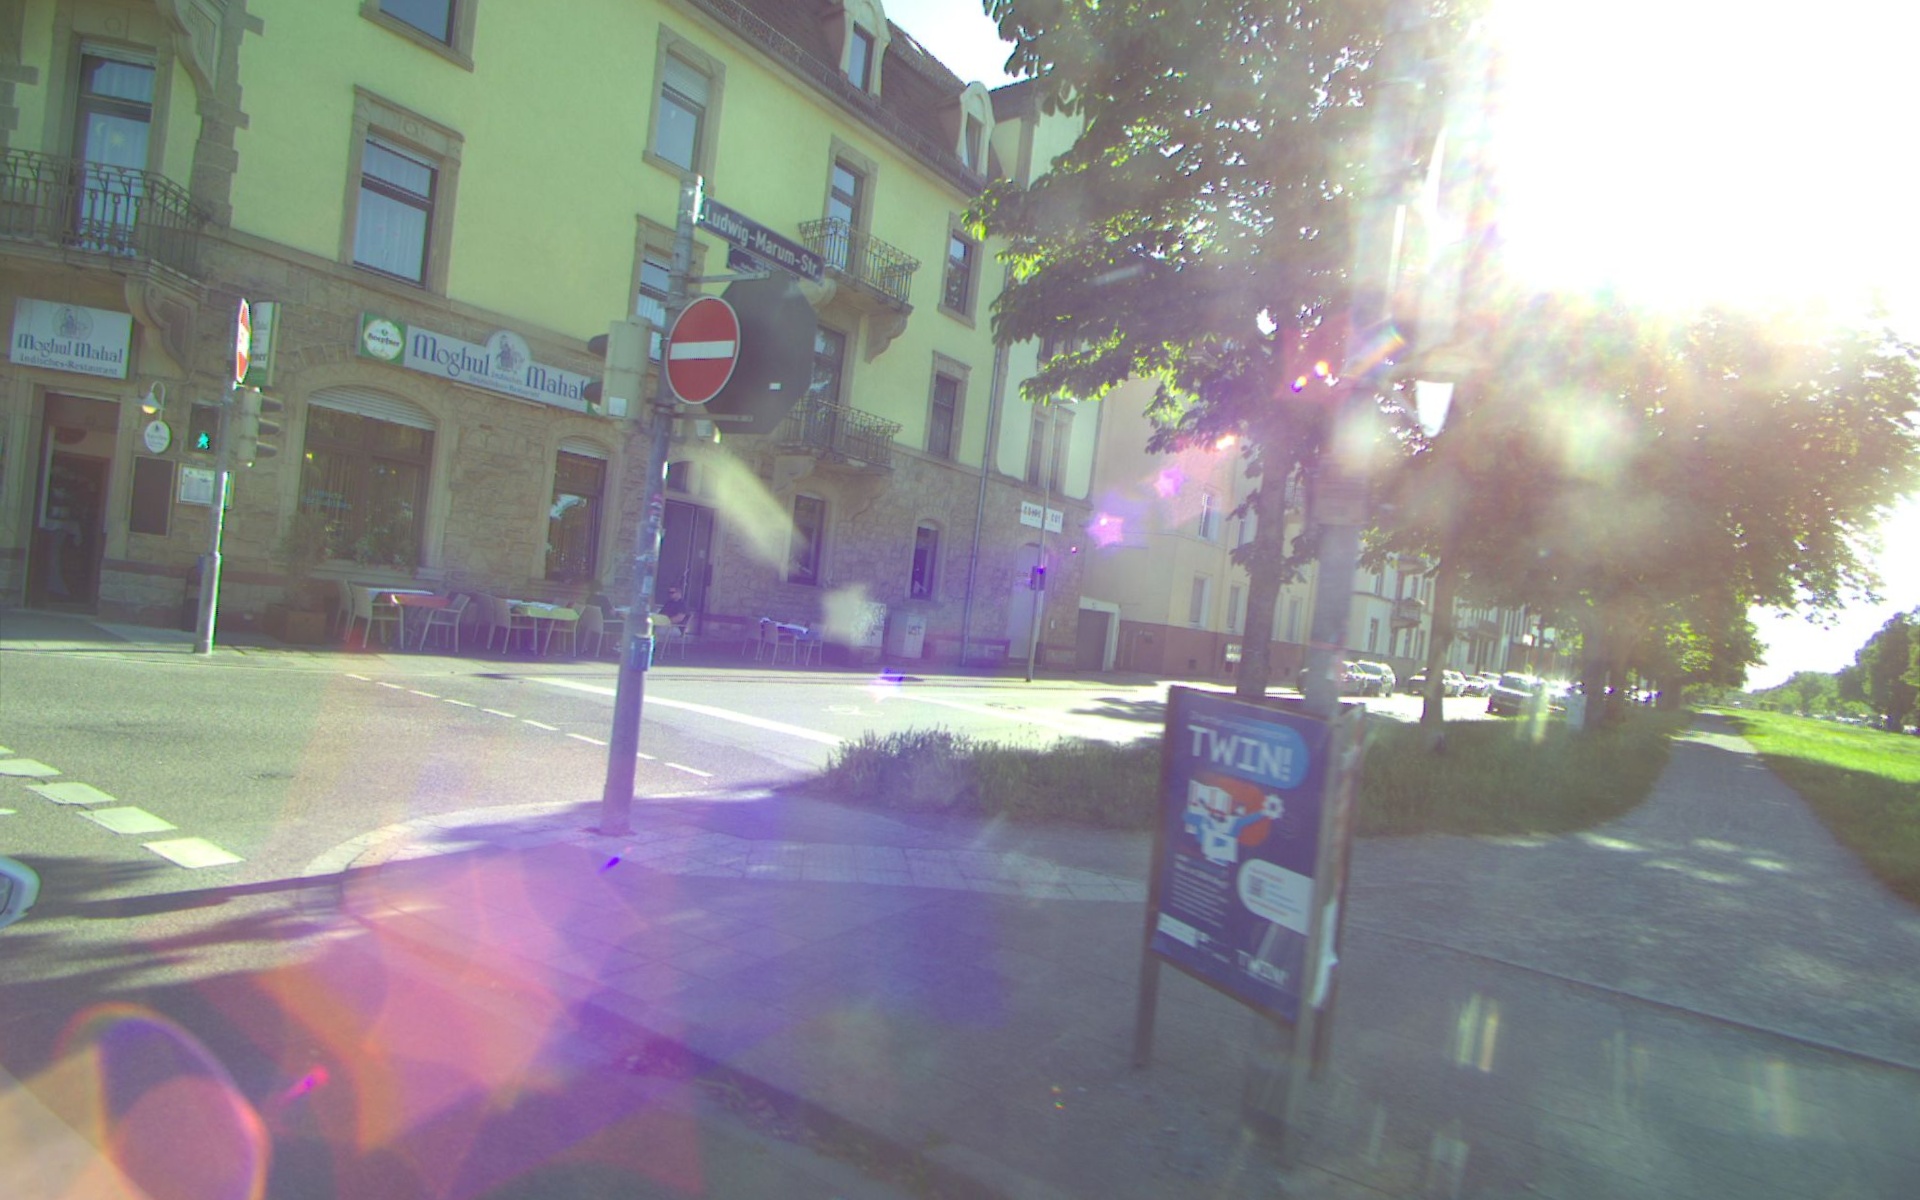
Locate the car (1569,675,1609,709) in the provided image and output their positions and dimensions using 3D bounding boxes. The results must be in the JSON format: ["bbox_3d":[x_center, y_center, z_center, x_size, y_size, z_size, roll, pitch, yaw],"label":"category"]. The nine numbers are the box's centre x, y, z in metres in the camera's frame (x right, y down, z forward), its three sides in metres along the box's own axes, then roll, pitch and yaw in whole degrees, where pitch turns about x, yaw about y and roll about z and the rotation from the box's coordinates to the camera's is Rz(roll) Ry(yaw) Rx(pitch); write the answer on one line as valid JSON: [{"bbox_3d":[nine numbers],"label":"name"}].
[{"bbox_3d":[45.976,6.741,73.487,1.899,2.054,4.649,7,-2,38],"label":"car"}]

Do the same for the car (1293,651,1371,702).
[{"bbox_3d":[15.593,3.214,42.065,1.800,1.624,3.842,10,-1,38],"label":"car"}]

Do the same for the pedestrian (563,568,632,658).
[{"bbox_3d":[-6.038,0.213,16.778,0.690,1.376,0.639,8,-1,36],"label":"pedestrian"}]

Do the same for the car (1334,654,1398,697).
[{"bbox_3d":[18.712,3.487,46.287,1.708,1.530,3.696,7,-2,36],"label":"car"}]

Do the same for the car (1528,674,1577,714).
[{"bbox_3d":[34.163,5.445,57.939,1.898,1.903,3.696,7,-2,36],"label":"car"}]

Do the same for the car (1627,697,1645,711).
[{"bbox_3d":[85.872,13.167,127.720,1.625,1.537,3.394,7,0,36],"label":"car"}]

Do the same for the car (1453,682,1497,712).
[{"bbox_3d":[35.063,6.589,68.452,1.710,1.622,3.693,7,-2,40],"label":"car"}]

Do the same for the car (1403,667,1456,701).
[{"bbox_3d":[26.477,4.755,56.716,1.710,1.504,3.693,7,-2,40],"label":"car"}]

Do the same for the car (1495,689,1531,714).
[{"bbox_3d":[45.045,8.255,81.902,1.710,1.622,3.693,7,-2,40],"label":"car"}]

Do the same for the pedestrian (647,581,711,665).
[{"bbox_3d":[-5.048,0.414,18.073,0.690,1.376,0.639,8,-1,36],"label":"pedestrian"}]

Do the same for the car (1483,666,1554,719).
[{"bbox_3d":[24.713,4.108,44.457,1.900,1.903,3.692,7,-2,40],"label":"car"}]

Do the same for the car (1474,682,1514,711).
[{"bbox_3d":[38.689,7.008,72.903,1.710,1.622,3.693,7,-2,40],"label":"car"}]
